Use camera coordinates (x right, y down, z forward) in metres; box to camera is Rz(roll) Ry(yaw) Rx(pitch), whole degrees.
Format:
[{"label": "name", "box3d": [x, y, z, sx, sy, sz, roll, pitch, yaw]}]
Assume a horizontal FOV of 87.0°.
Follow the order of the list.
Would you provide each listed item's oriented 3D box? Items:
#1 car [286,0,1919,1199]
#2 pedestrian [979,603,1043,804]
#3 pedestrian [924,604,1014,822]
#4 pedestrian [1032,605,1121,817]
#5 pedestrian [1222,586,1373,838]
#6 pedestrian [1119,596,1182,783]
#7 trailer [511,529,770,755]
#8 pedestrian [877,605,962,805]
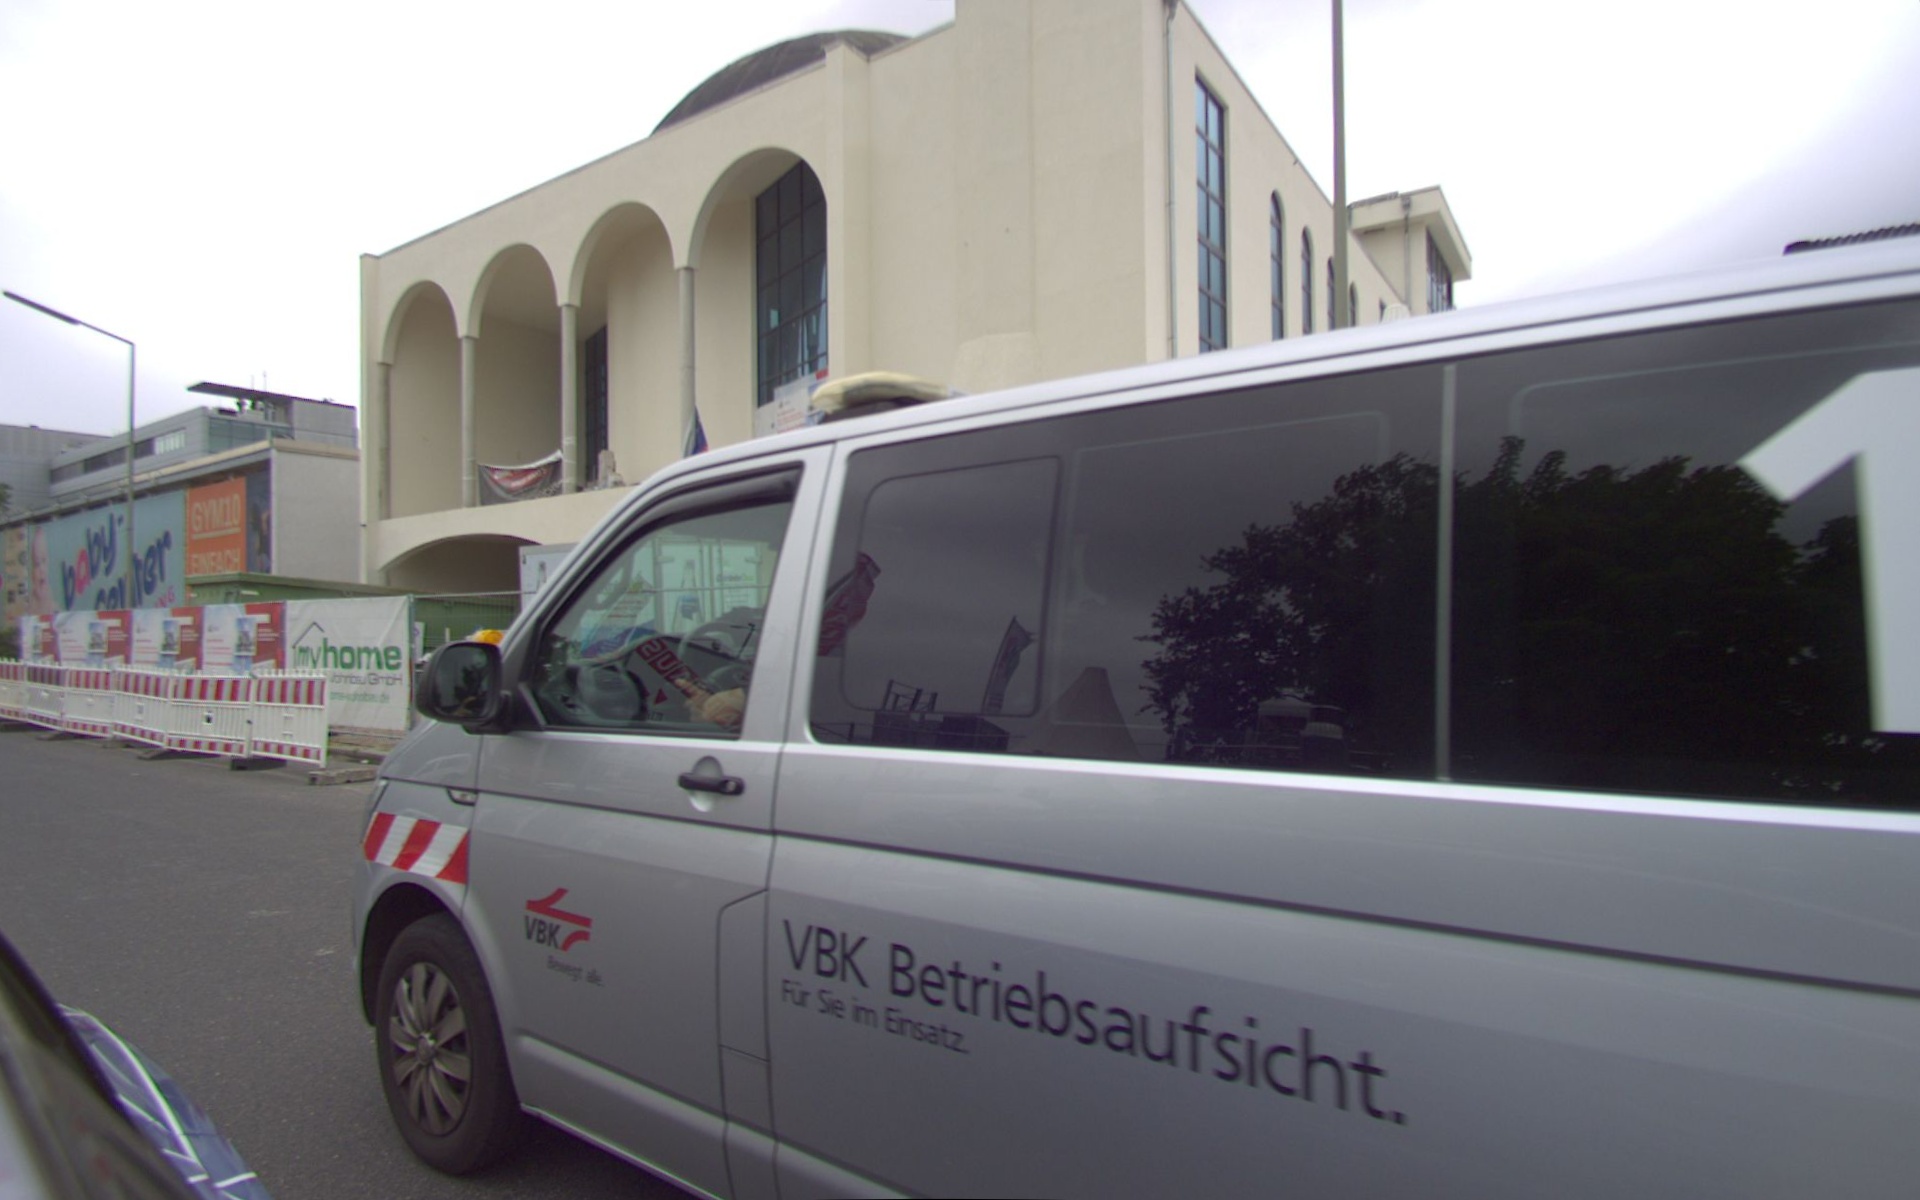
[{"label": "car", "box3d": [0.626, 0.439, 2.269, 4.944, 2.029, 1.910, -1, -2, 35]}, {"label": "pedestrian", "box3d": [0.470, 0.916, 9.190, 0.522, 1.762, 0.489, -1, -2, 8]}, {"label": "pedestrian", "box3d": [0.086, 0.928, 8.504, 0.683, 1.762, 0.489, -1, -2, 8]}, {"label": "pedestrian", "box3d": [0.927, 0.862, 8.112, 0.562, 1.624, 0.492, 0, -2, -10]}, {"label": "pedestrian", "box3d": [2.485, 0.791, 7.515, 0.685, 1.730, 0.689, -4, 0, -12]}, {"label": "pedestrian", "box3d": [1.703, 0.779, 9.096, 0.485, 1.624, 0.540, -1, 0, 6]}, {"label": "trailer", "box3d": [-4.277, 0.542, 13.435, 3.186, 2.627, 1.781, -2, -2, 37]}, {"label": "pedestrian", "box3d": [-0.363, 0.934, 9.222, 0.683, 1.762, 0.489, -1, -2, 8]}]
